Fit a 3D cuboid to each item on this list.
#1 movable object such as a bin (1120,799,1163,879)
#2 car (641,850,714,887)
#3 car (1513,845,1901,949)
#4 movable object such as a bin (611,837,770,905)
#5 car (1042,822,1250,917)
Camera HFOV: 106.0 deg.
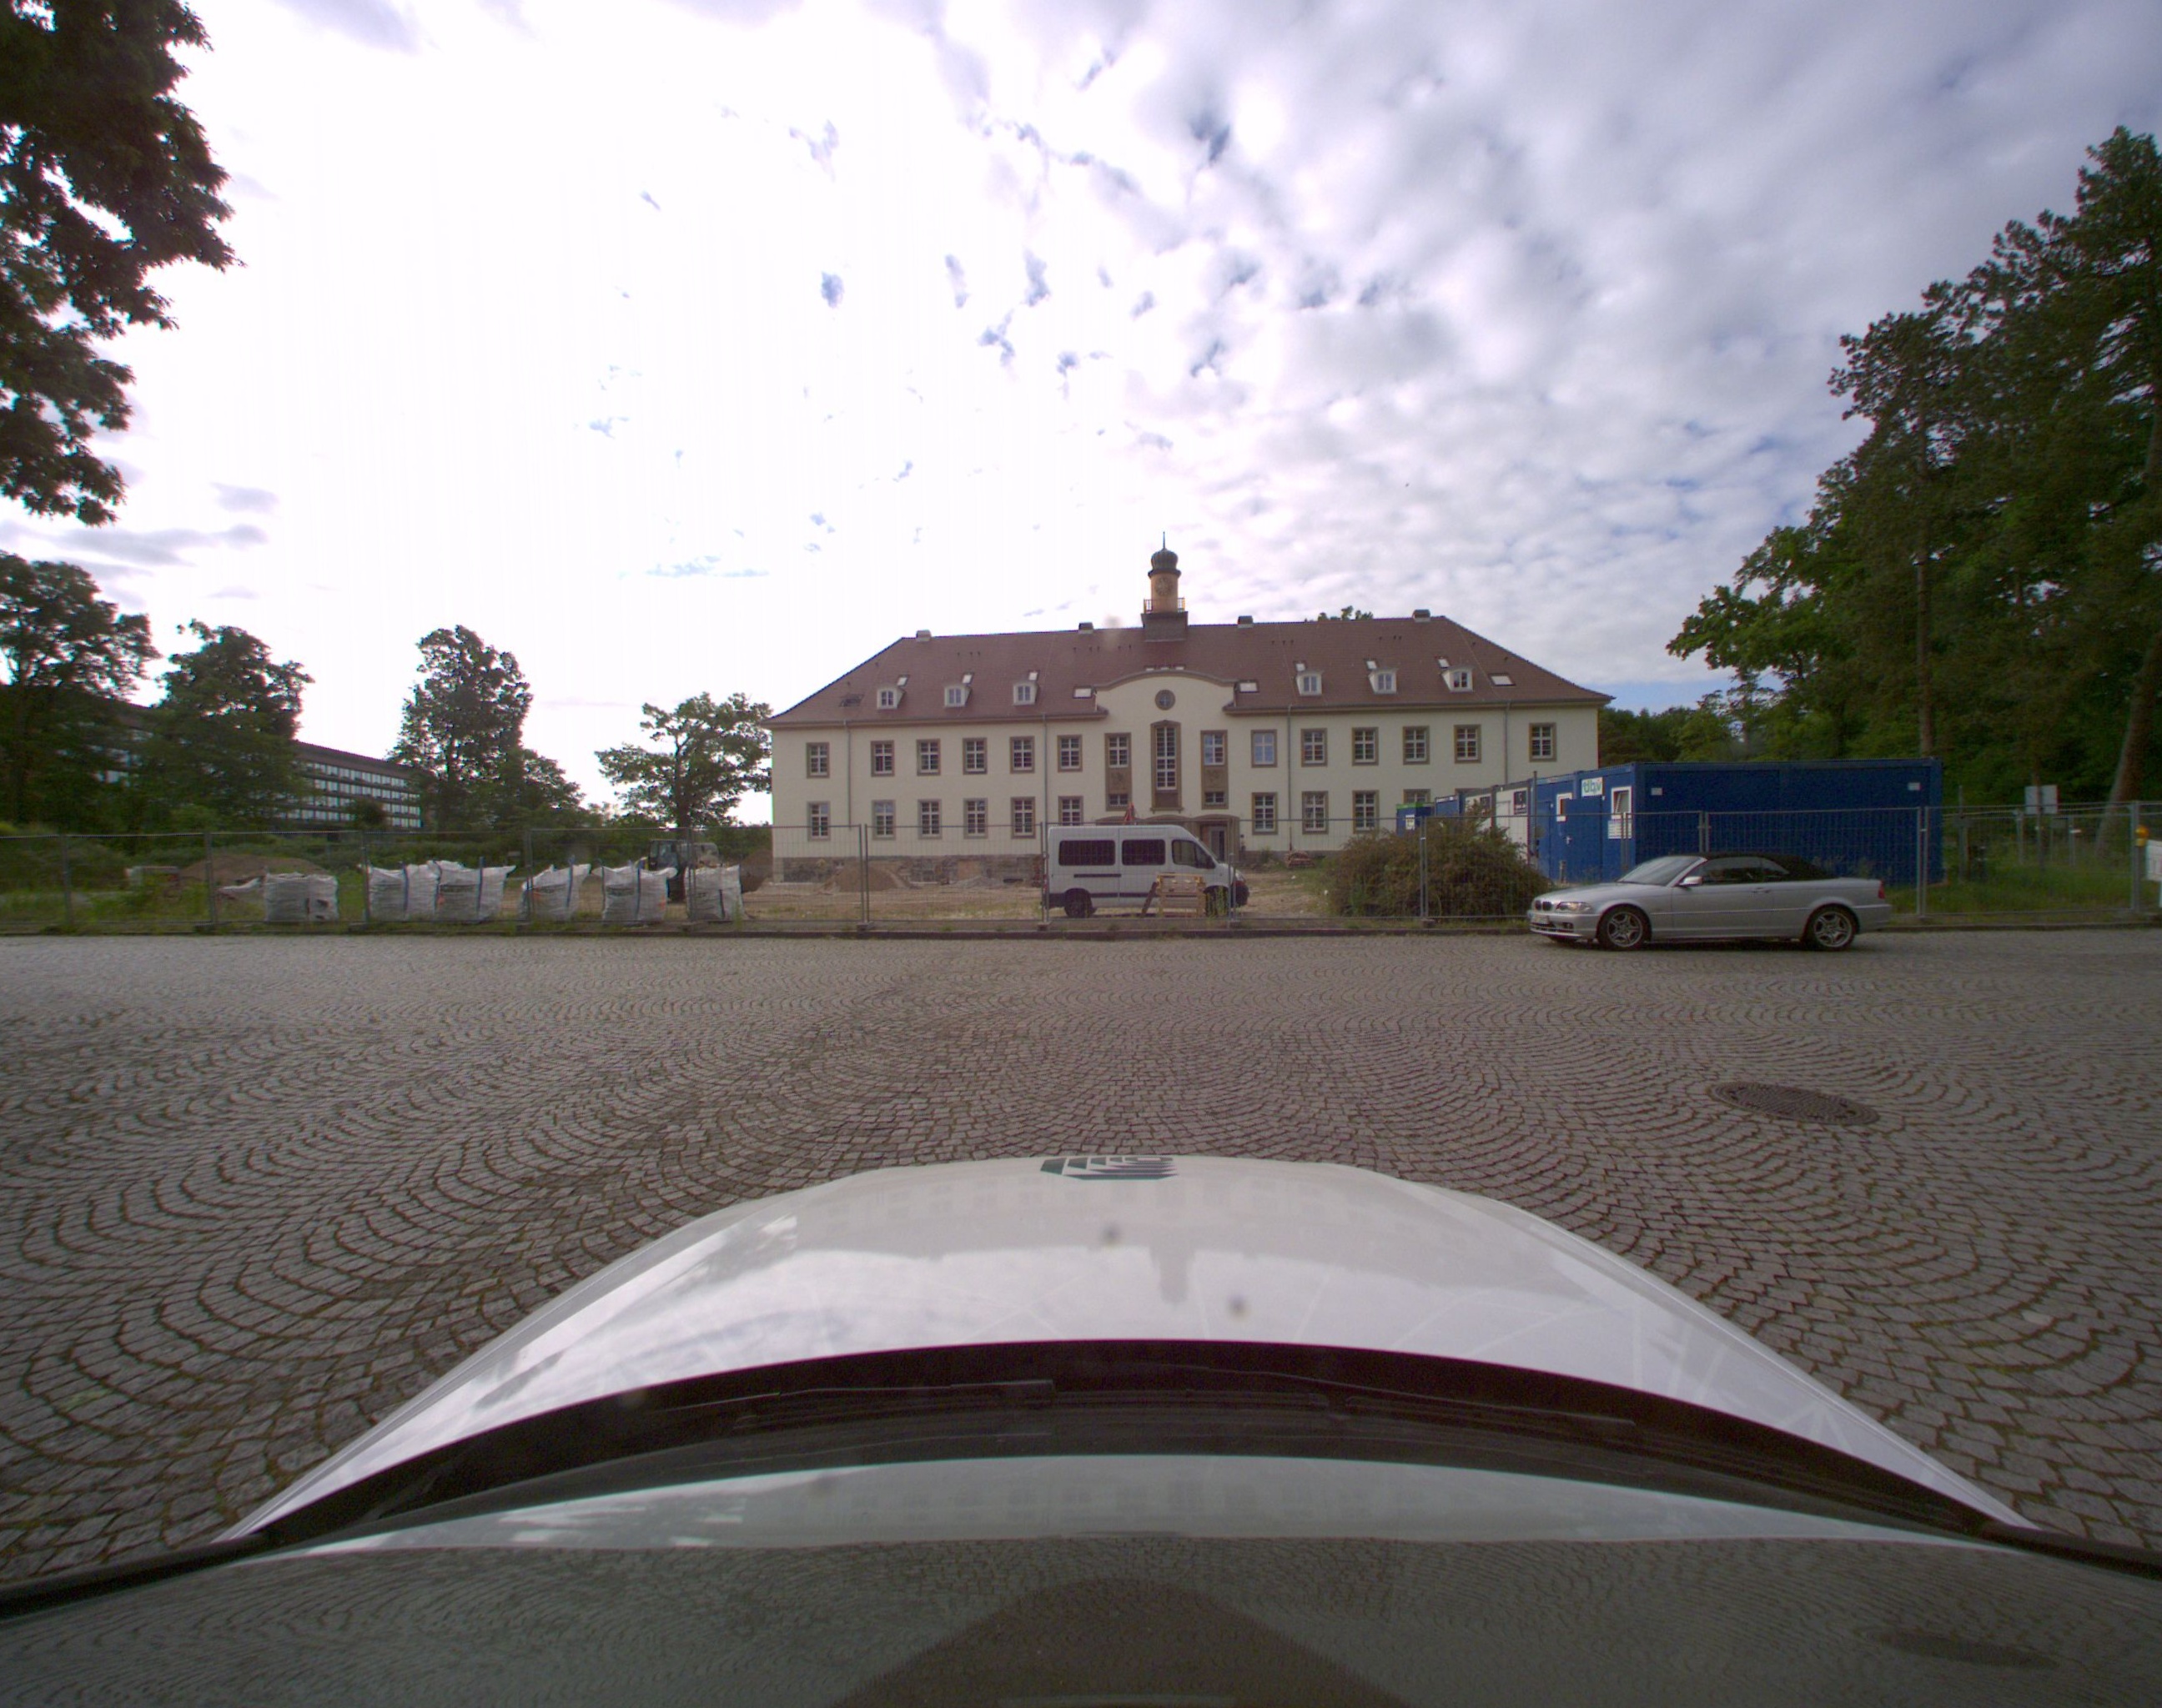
[{"bbox_3d":[2.976,-0.717,41.301,1.985,3.771,5.321,-1,0,3],"label":"movable object such as a bin"},{"bbox_3d":[-25.099,0.863,50.880,2.061,2.150,4.898,-1,0,0],"label":"car"},{"bbox_3d":[8.815,0.602,11.758,4.262,1.346,1.608,-1,-1,3],"label":"car"},{"bbox_3d":[-15.396,0.653,32.247,5.305,2.556,2.002,-1,0,4],"label":"movable object such as a bin"},{"bbox_3d":[1.739,0.401,21.635,5.234,2.344,1.914,-1,0,7],"label":"car"}]
